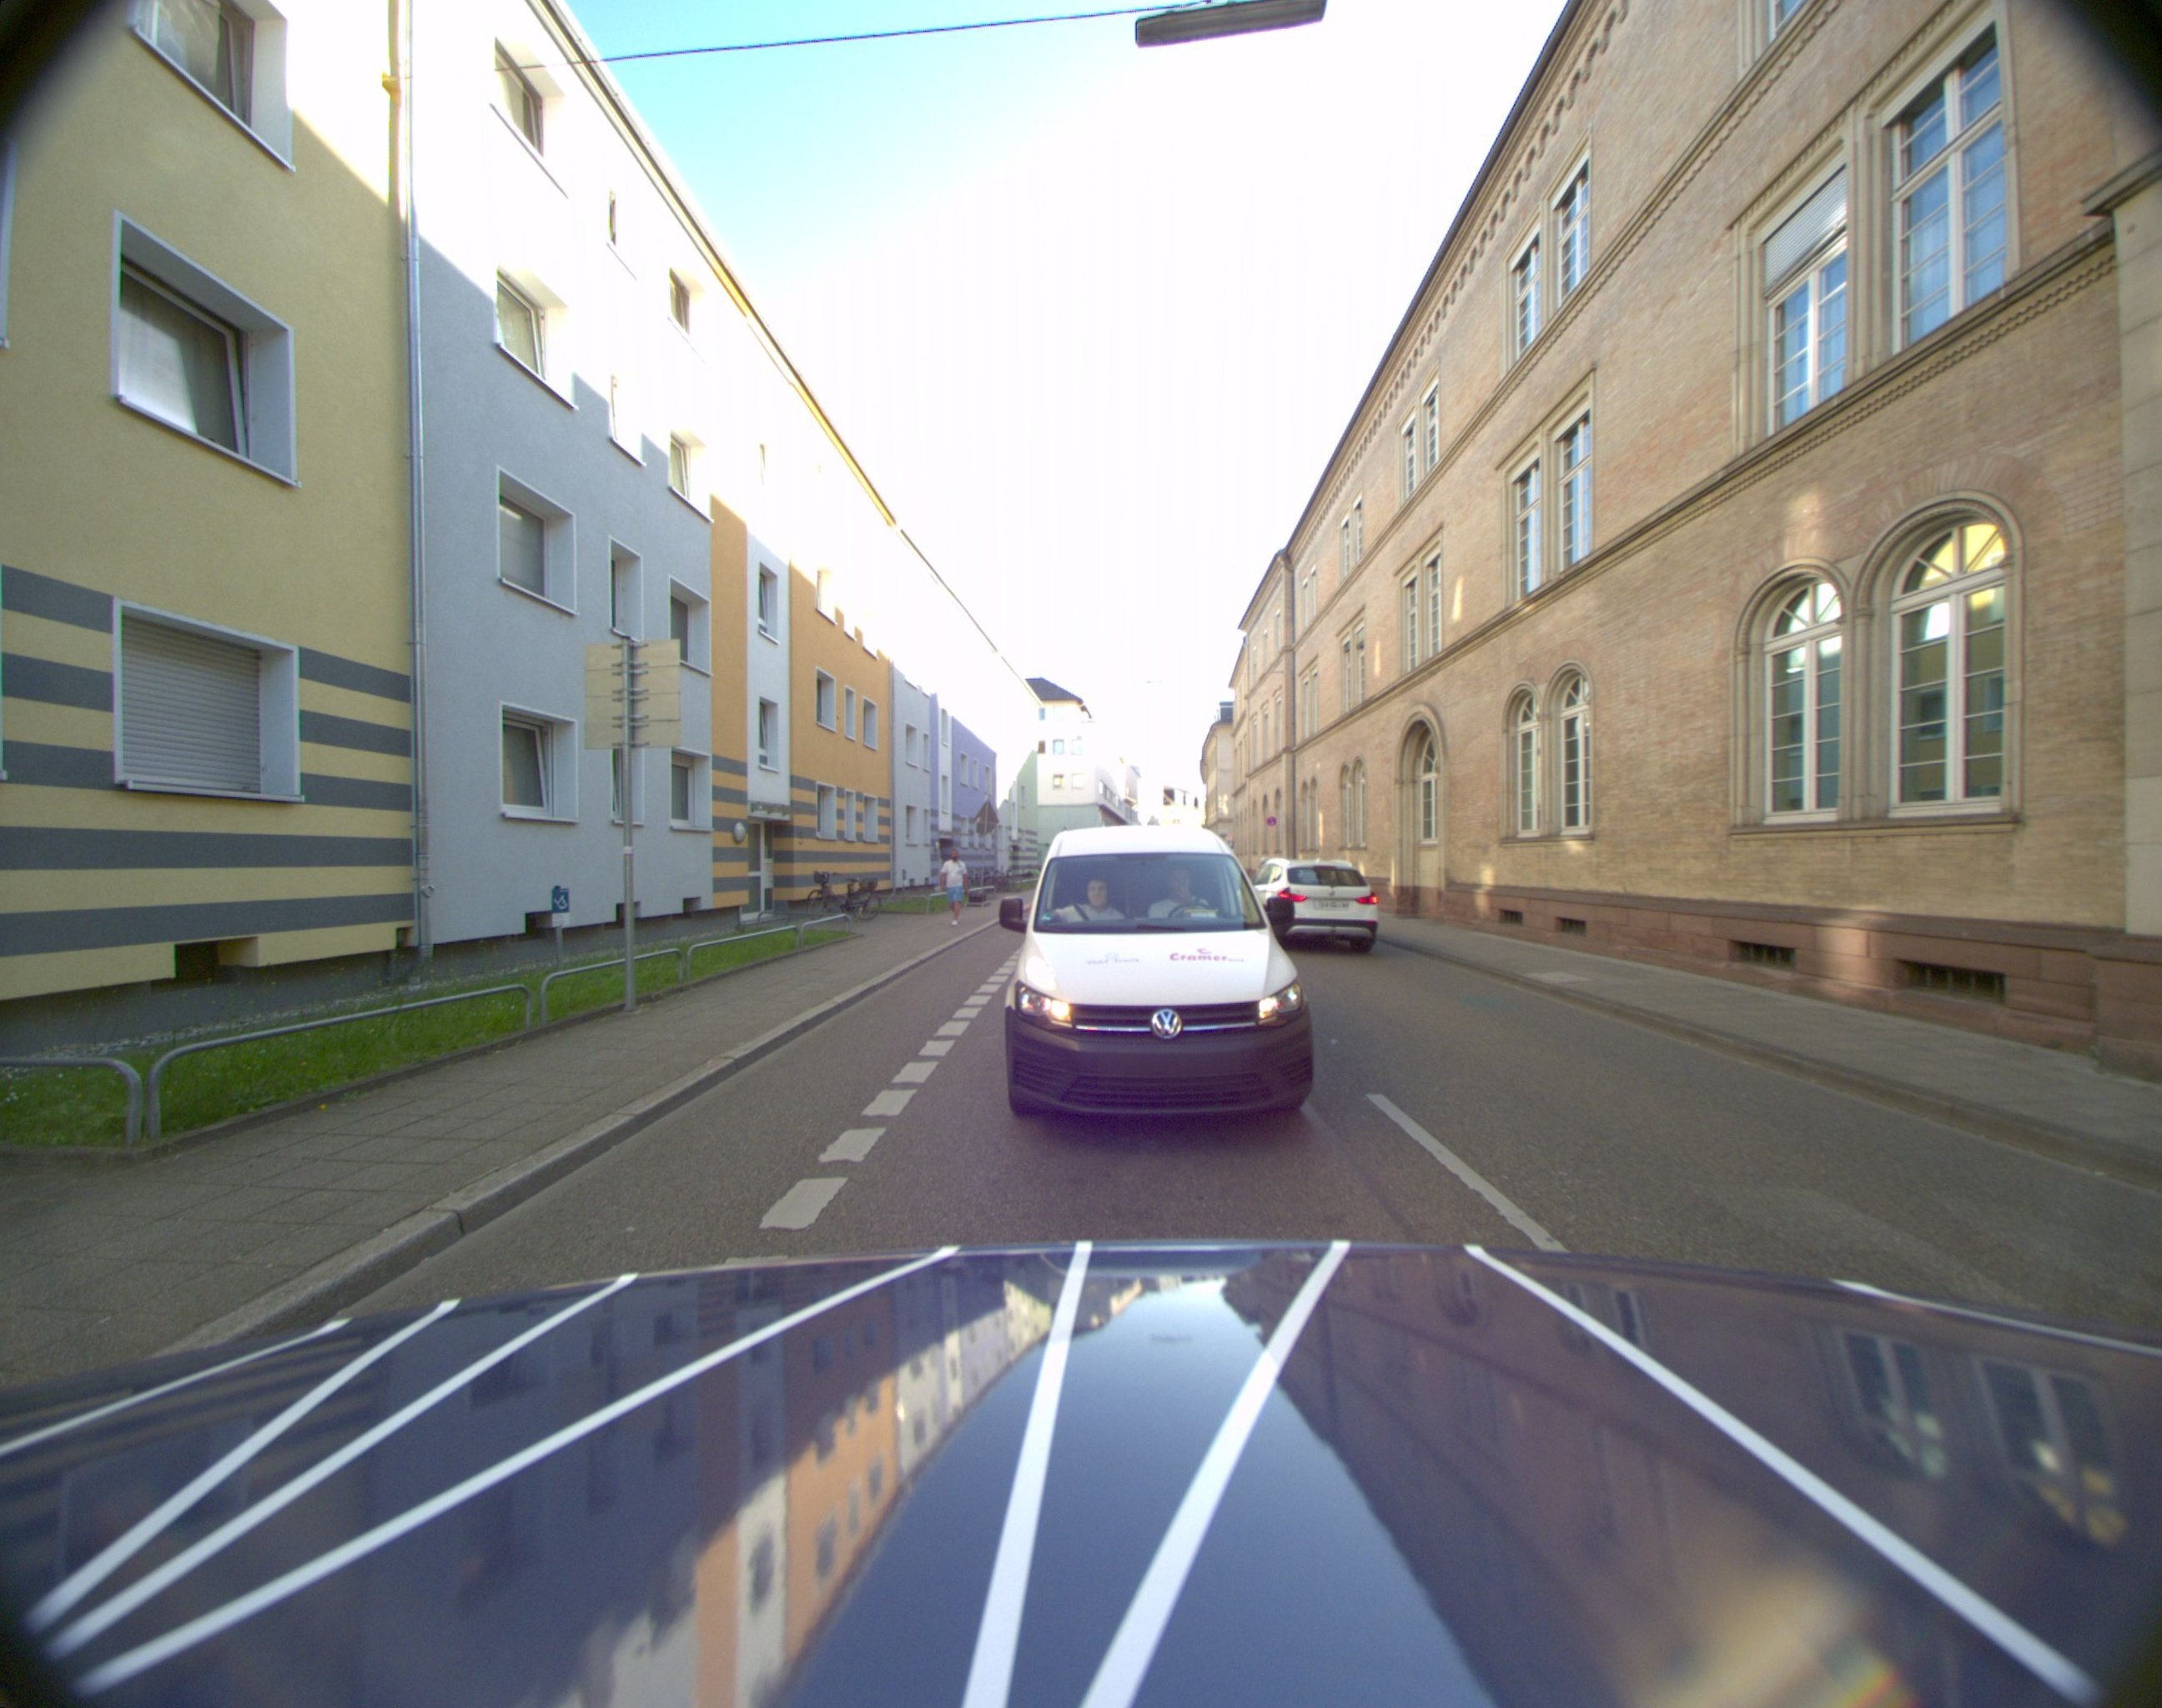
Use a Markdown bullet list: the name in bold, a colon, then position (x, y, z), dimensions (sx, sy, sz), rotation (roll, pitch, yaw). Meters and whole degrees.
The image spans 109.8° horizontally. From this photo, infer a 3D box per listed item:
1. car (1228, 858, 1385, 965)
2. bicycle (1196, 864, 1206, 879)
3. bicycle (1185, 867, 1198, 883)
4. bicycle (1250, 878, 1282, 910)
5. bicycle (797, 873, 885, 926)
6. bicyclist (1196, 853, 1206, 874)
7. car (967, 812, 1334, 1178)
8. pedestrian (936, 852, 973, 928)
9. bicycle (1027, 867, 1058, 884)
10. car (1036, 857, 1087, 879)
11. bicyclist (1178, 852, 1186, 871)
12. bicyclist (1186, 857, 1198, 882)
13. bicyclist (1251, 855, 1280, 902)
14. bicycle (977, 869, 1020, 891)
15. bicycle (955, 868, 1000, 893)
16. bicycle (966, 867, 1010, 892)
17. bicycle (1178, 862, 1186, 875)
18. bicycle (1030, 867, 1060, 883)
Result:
- **car**: position (3.909, 0.904, 13.929), dimensions (1.689, 1.573, 4.275), rotation (2, 0, 2)
- **bicycle**: position (8.809, 1.282, 55.843), dimensions (0.651, 1.001, 1.877), rotation (2, 0, 9)
- **bicycle**: position (7.087, 1.335, 48.738), dimensions (0.651, 1.001, 1.807), rotation (2, 0, 5)
- **bicycle**: position (5.935, 1.255, 24.483), dimensions (0.687, 0.919, 1.767), rotation (2, 0, 3)
- **bicycle**: position (-5.399, 1.020, 17.135), dimensions (1.776, 1.118, 0.583), rotation (1, 1, -1)
- **bicyclist**: position (8.822, 0.681, 55.866), dimensions (0.651, 1.500, 1.112), rotation (2, 0, 8)
- **car**: position (0.383, 0.714, 6.469), dimensions (1.819, 1.825, 5.341), rotation (0, 0, 1)
- **pedestrian**: position (-2.825, 0.795, 17.082), dimensions (0.644, 1.662, 0.834), rotation (1, 0, 3)
- **bicycle**: position (-2.320, 1.293, 46.105), dimensions (1.775, 0.934, 0.584), rotation (1, 1, 7)
- **car**: position (-1.599, 1.155, 63.509), dimensions (3.995, 1.681, 1.901), rotation (-2, 1, 5)
- **bicyclist**: position (8.158, 0.626, 61.215), dimensions (0.546, 1.524, 0.870), rotation (2, 0, 10)
- **bicyclist**: position (7.089, 0.985, 48.728), dimensions (0.651, 1.558, 0.961), rotation (2, 0, 5)
- **bicyclist**: position (5.931, 0.767, 24.462), dimensions (0.687, 1.467, 0.871), rotation (2, 0, 3)
- **bicycle**: position (-3.664, 1.149, 33.850), dimensions (1.775, 0.934, 0.584), rotation (1, 1, 7)
- **bicycle**: position (-4.331, 1.121, 31.891), dimensions (1.775, 0.990, 0.584), rotation (1, 1, 7)
- **bicycle**: position (-4.054, 1.111, 33.234), dimensions (1.775, 0.990, 0.584), rotation (1, 1, 7)
- **bicycle**: position (8.136, 1.167, 61.153), dimensions (0.546, 1.001, 1.758), rotation (2, 0, 10)
- **bicycle**: position (-2.241, 1.324, 47.642), dimensions (1.775, 0.934, 0.584), rotation (1, 1, 7)
